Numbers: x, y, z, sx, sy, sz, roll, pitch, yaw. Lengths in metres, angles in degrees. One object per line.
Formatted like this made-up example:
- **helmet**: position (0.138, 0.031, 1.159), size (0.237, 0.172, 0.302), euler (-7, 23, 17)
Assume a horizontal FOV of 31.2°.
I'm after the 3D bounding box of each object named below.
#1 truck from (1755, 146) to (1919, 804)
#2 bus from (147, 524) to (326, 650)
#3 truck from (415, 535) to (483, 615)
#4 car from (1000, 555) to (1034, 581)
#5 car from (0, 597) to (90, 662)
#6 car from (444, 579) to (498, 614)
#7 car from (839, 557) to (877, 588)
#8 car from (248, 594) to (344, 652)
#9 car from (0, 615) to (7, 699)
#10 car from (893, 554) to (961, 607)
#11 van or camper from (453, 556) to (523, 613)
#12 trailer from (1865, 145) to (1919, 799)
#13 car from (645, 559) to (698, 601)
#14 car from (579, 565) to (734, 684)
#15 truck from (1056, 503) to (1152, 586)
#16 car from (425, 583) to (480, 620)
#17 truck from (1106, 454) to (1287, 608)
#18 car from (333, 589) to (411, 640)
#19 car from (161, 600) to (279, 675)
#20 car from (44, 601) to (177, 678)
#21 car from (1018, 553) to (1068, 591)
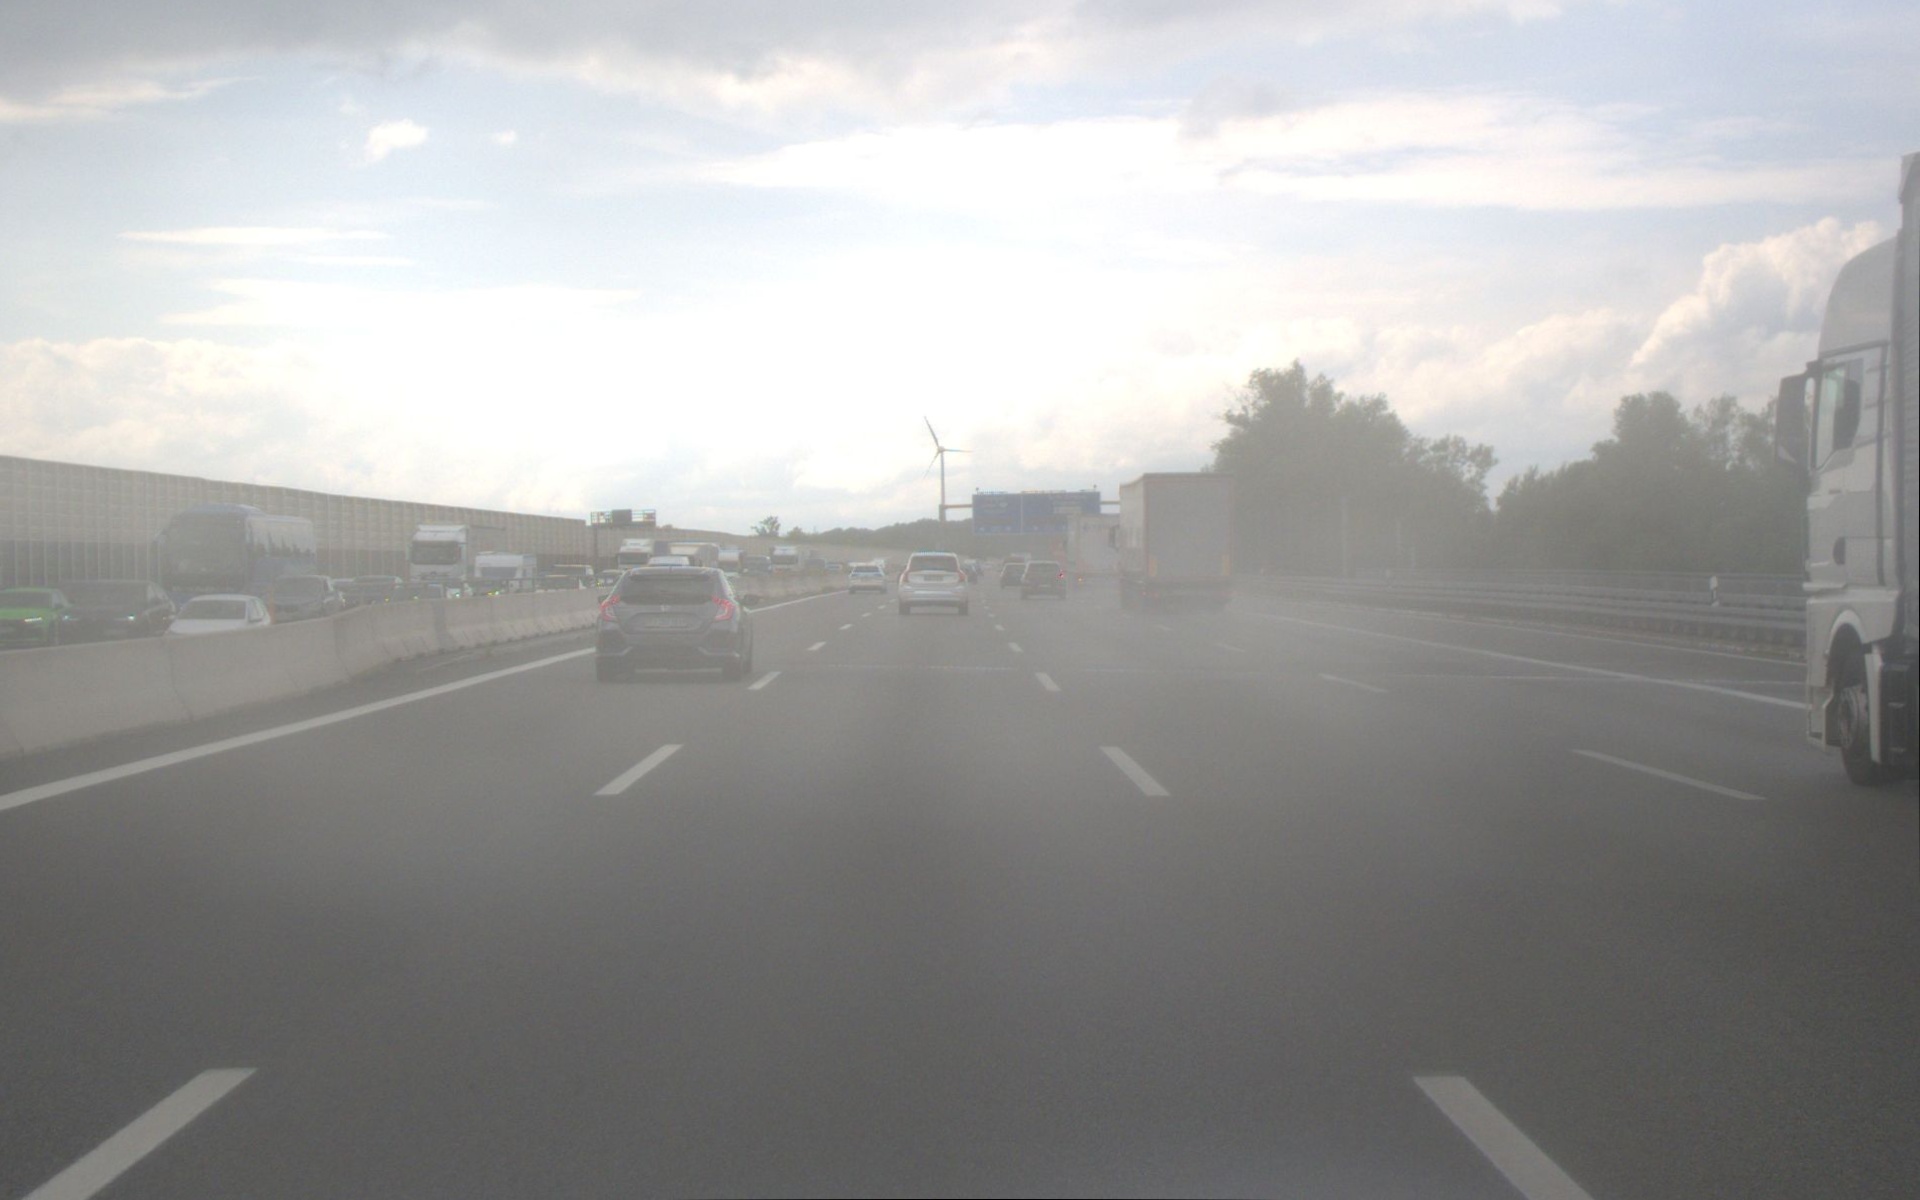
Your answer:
- **truck**: position (7.314, -0.774, 21.693), size (2.961, 4.006, 6.589), euler (0, 1, -1)
- **bus**: position (-22.782, -0.476, 108.987), size (3.092, 3.745, 11.882), euler (-1, 1, 0)
- **truck**: position (-25.725, -1.294, 173.209), size (2.576, 3.921, 5.177), euler (1, 1, 0)
- **car**: position (3.253, -1.853, 196.774), size (1.835, 1.436, 4.056), euler (0, 1, -1)
- **car**: position (-22.312, 0.690, 82.569), size (1.747, 1.426, 4.716), euler (-1, 1, -2)
- **car**: position (-22.561, -0.155, 158.745), size (1.747, 1.520, 5.140), euler (-1, 1, 0)
- **car**: position (-4.940, -1.352, 165.584), size (1.772, 1.436, 3.874), euler (0, 1, -3)
- **car**: position (-18.856, 0.624, 97.829), size (1.747, 1.520, 4.927), euler (-1, 1, 0)
- **car**: position (-18.850, 1.101, 63.197), size (1.621, 1.574, 3.619), euler (-1, 1, 0)
- **car**: position (-0.949, -0.568, 97.315), size (1.772, 1.436, 4.056), euler (0, 1, -3)
- **van or camper**: position (-22.599, -0.766, 164.891), size (2.344, 2.632, 7.149), euler (-1, 1, 0)
- **trailer**: position (7.436, -0.653, 15.154), size (2.961, 4.006, 14.119), euler (0, 1, -1)
- **car**: position (-14.704, -1.023, 175.430), size (2.159, 2.064, 6.014), euler (-1, 1, 0)
- **car**: position (-3.815, 0.271, 43.849), size (1.760, 1.364, 5.061), euler (0, 1, -3)
- **truck**: position (7.484, -2.944, 181.077), size (4.243, 4.162, 11.990), euler (1, 1, -1)
- **car**: position (-22.081, 0.044, 149.693), size (1.747, 1.520, 4.178), euler (-1, 1, 0)
- **truck**: position (6.944, -2.061, 103.331), size (4.179, 4.273, 12.614), euler (1, 1, -2)
- **car**: position (-18.852, 0.448, 110.298), size (1.747, 1.520, 4.178), euler (-1, 1, 0)
- **car**: position (-14.812, 0.726, 68.929), size (1.572, 1.389, 3.575), euler (-1, 1, 0)
- **car**: position (-19.218, 0.875, 77.938), size (1.934, 1.605, 4.178), euler (-1, 1, 0)
- **car**: position (3.321, -1.140, 138.088), size (1.835, 1.436, 4.056), euler (0, 1, -1)
